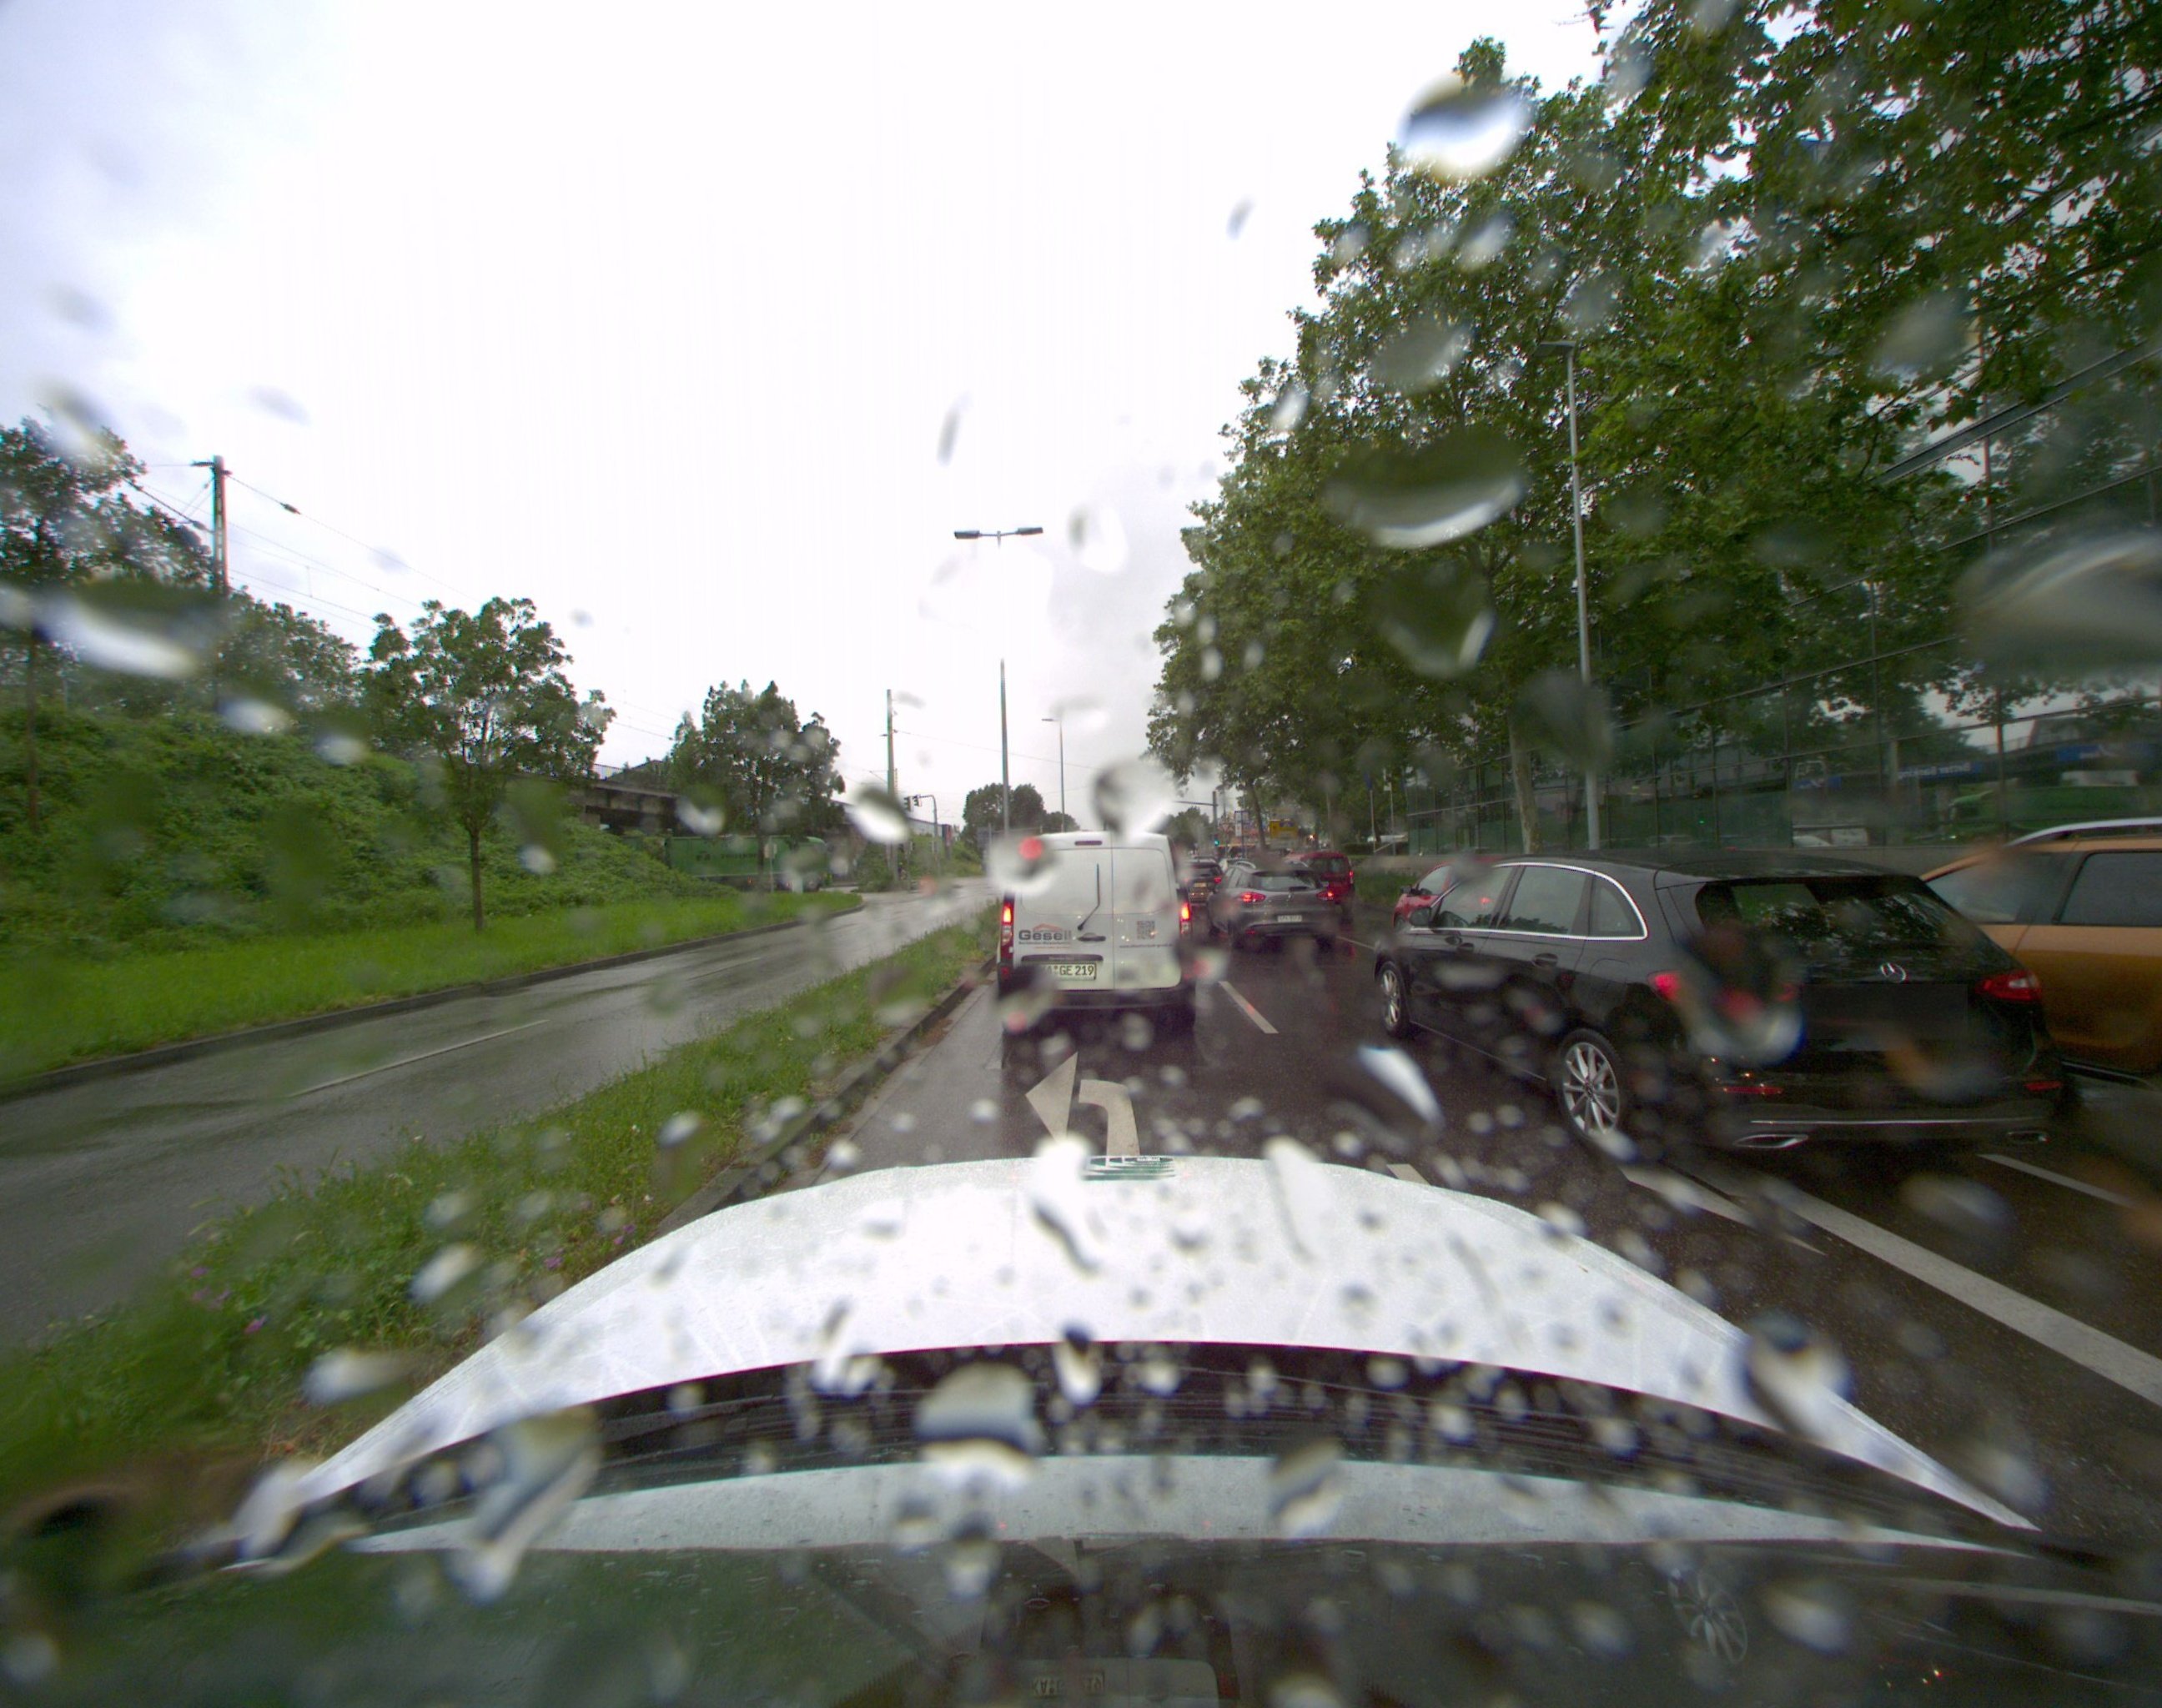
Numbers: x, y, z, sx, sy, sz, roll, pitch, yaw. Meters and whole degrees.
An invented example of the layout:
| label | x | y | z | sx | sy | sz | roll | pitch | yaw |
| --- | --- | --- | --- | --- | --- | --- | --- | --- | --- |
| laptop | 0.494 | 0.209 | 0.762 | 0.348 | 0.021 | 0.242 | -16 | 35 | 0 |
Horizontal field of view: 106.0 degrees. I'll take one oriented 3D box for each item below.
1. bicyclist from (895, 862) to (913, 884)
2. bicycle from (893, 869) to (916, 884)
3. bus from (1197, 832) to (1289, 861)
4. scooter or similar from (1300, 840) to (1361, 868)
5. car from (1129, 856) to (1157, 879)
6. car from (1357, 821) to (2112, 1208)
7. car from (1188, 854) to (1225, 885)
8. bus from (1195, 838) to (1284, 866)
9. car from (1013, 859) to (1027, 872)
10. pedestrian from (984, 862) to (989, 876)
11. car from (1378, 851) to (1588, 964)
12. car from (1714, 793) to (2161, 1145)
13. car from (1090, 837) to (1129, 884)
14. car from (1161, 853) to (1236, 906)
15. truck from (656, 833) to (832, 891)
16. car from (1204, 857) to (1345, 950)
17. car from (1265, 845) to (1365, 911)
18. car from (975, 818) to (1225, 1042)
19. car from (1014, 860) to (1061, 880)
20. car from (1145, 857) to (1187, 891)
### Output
| label | x | y | z | sx | sy | sz | roll | pitch | yaw |
| --- | --- | --- | --- | --- | --- | --- | --- | --- | --- |
| bicyclist | -12.126 | 1.289 | 55.857 | 1.045 | 1.450 | 0.723 | -2 | 0 | -23 |
| bicycle | -12.154 | 1.523 | 55.946 | 1.045 | 0.952 | 2.866 | -2 | 0 | -22 |
| bus | 21.883 | -1.057 | 110.530 | 11.926 | 3.423 | 2.316 | -2 | 0 | 1 |
| scooter or similar | 23.439 | 0.025 | 76.623 | 1.905 | 2.446 | 5.257 | -1 | 0 | -39 |
| car | 4.577 | 0.978 | 60.732 | 1.847 | 1.650 | 3.844 | -1 | -1 | 2 |
| car | 3.371 | 0.663 | 5.385 | 1.741 | 1.554 | 4.091 | -1 | 0 | 1 |
| car | 7.491 | 0.902 | 49.015 | 1.701 | 1.728 | 3.844 | -1 | 0 | 2 |
| bus | 22.184 | -0.235 | 114.491 | 11.939 | 3.423 | 2.481 | -2 | 0 | -2 |
| car | -7.977 | 1.471 | 106.697 | 1.463 | 1.559 | 3.508 | -2 | 0 | 1 |
| pedestrian | -11.241 | 1.763 | 96.490 | 0.541 | 1.716 | 0.563 | 0 | -1 | -2 |
| car | 5.917 | 0.709 | 12.441 | 1.563 | 1.462 | 3.389 | -1 | 0 | 1 |
| car | 6.039 | 0.551 | 4.689 | 1.668 | 1.685 | 4.149 | 0 | 0 | 2 |
| car | 1.460 | 0.314 | 41.904 | 1.847 | 2.296 | 3.844 | -1 | 0 | 2 |
| car | 3.525 | 0.726 | 25.016 | 1.847 | 1.460 | 3.844 | -1 | 0 | 2 |
| truck | -21.375 | 0.441 | 52.186 | 10.105 | 3.371 | 2.322 | -1 | 0 | -35 |
| car | 3.289 | 0.782 | 14.543 | 1.677 | 1.408 | 3.843 | 0 | 0 | 1 |
| car | 6.487 | 0.655 | 23.069 | 1.704 | 1.694 | 4.273 | 0 | -1 | 2 |
| car | 0.227 | 0.619 | 8.912 | 1.986 | 1.776 | 4.587 | -1 | 0 | 2 |
| car | -3.778 | 1.373 | 70.479 | 2.012 | 1.543 | 3.779 | -2 | -2 | -44 |
| car | 4.358 | 0.988 | 42.062 | 1.847 | 1.649 | 3.844 | -1 | 0 | 2 |
